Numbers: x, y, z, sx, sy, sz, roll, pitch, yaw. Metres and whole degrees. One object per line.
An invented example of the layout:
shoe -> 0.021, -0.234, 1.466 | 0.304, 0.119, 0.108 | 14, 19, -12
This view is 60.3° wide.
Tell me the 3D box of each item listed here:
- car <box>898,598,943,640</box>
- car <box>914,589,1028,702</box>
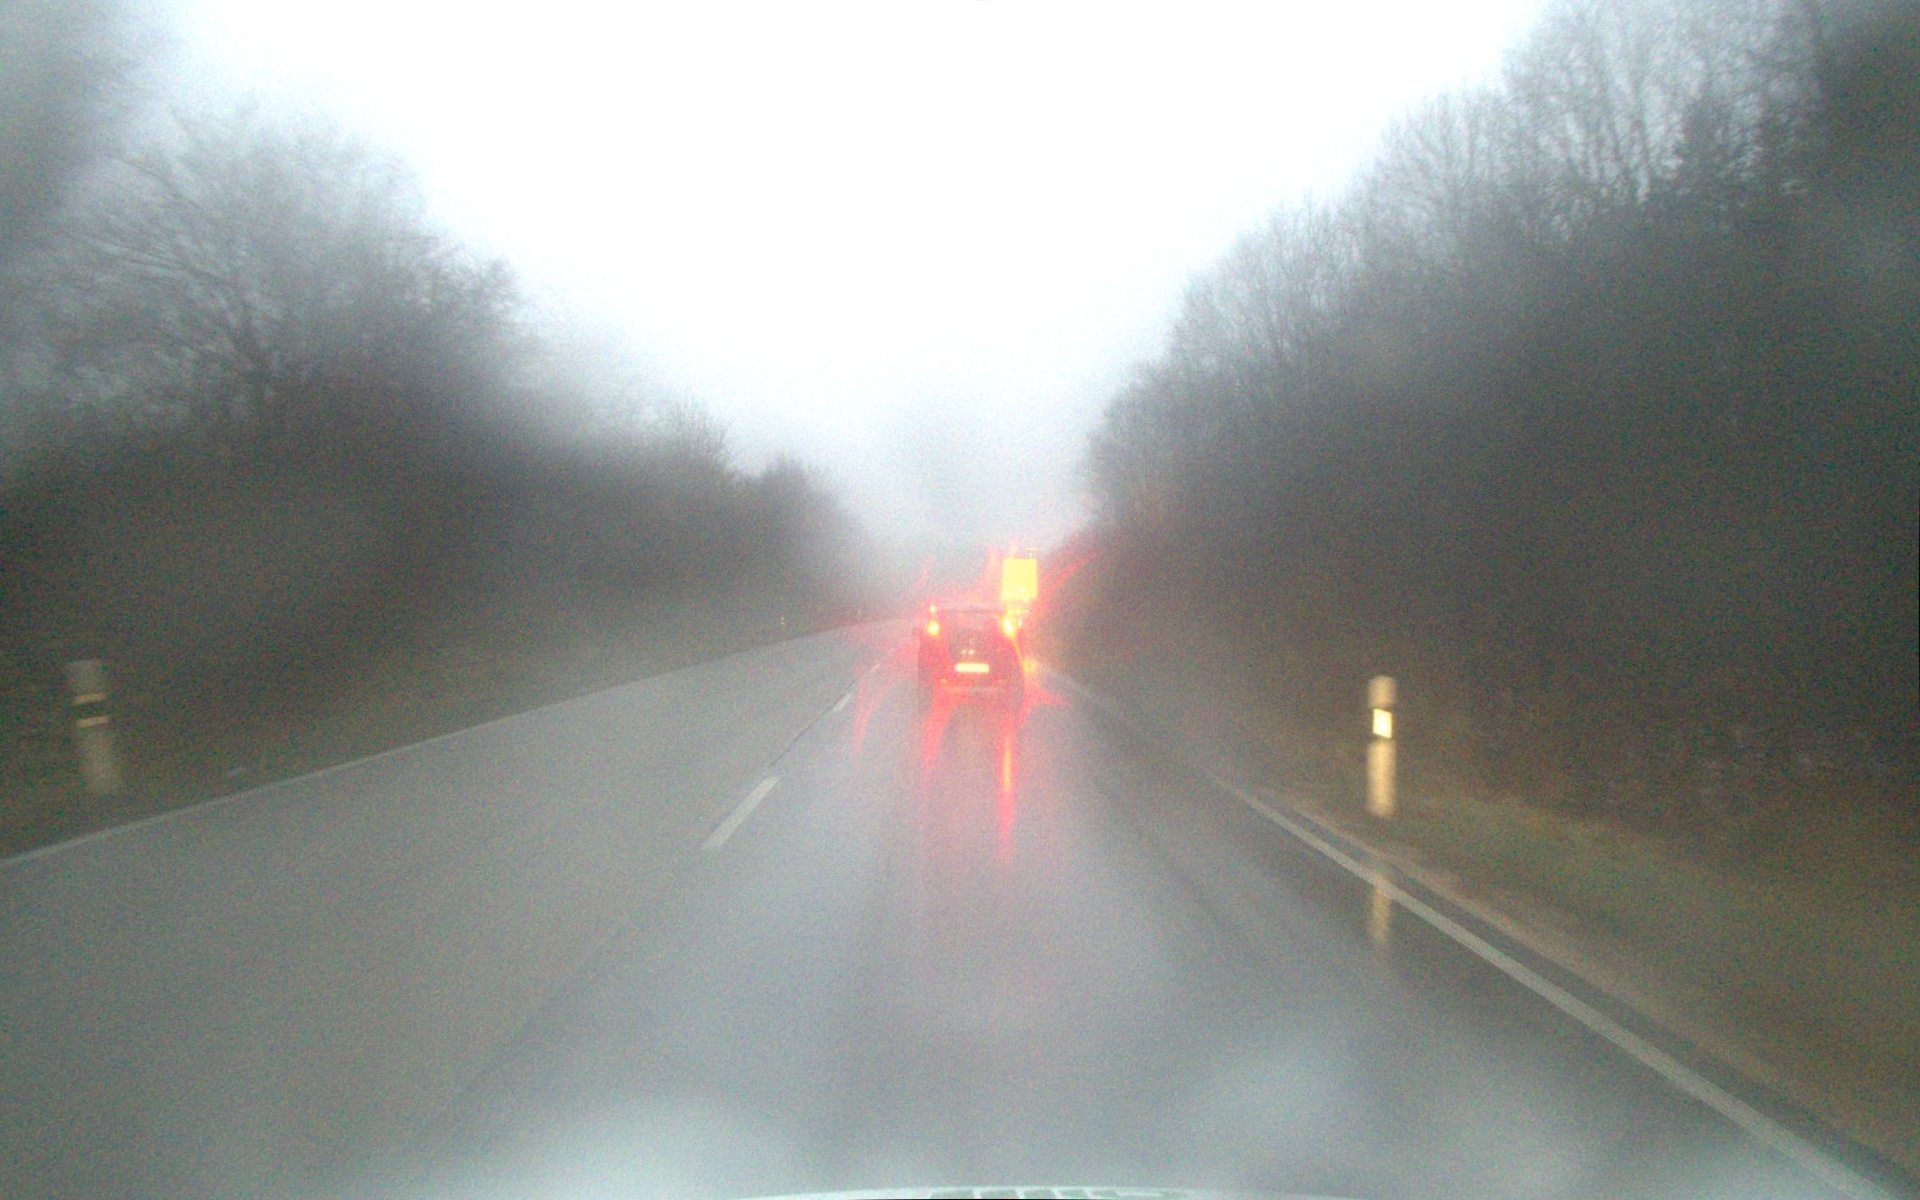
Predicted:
car -> -1.568, 0.754, 67.320 | 1.692, 1.672, 4.000 | 0, 0, 0
car -> 0.176, 0.674, 26.544 | 1.692, 1.672, 4.000 | 0, 0, 0
